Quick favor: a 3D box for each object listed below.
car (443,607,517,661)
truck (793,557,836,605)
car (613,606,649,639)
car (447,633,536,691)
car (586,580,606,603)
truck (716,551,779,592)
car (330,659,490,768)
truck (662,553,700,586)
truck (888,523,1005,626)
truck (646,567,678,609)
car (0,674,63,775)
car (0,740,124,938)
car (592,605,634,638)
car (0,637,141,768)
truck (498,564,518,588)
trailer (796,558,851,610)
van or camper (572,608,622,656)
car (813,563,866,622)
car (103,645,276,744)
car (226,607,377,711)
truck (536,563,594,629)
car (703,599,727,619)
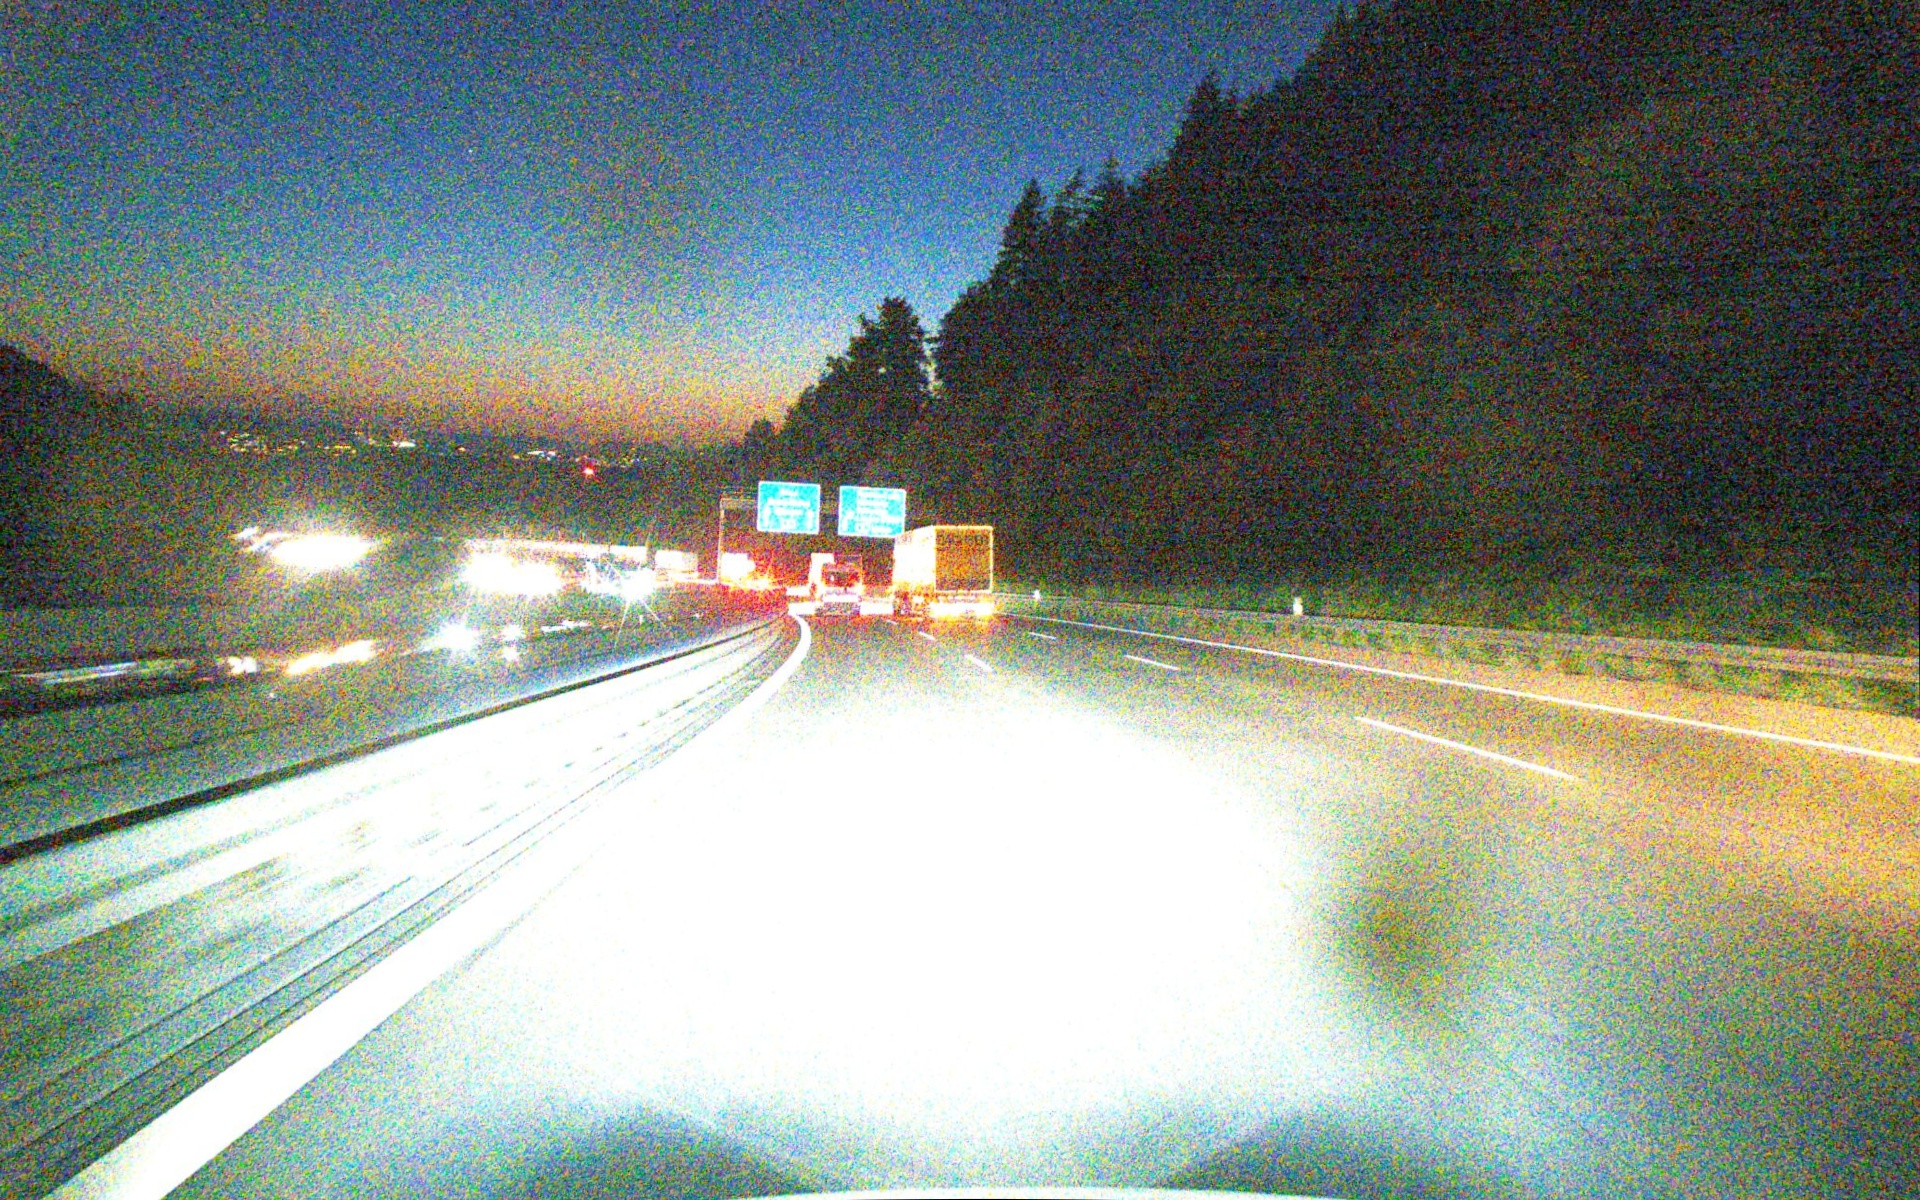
[{"bbox_3d":[-20.549,1.432,71.034,2.098,2.090,5.107,-1,1,-6],"label":"car"},{"bbox_3d":[-13.479,-1.770,152.722,2.813,4.147,7.485,-1,3,-14],"label":"truck"},{"bbox_3d":[-16.002,1.088,80.572,1.571,1.467,3.991,-1,1,-9],"label":"car"},{"bbox_3d":[-15.700,2.047,55.664,2.098,1.651,5.105,-1,1,-7],"label":"car"},{"bbox_3d":[-40.192,-0.978,182.621,1.804,2.411,5.423,-1,1,-16],"label":"car"},{"bbox_3d":[-27.215,-3.727,210.574,3.855,4.707,20.909,-2,2,-18],"label":"truck"},{"bbox_3d":[-9.553,1.921,29.066,1.782,1.494,4.274,-1,1,-6],"label":"car"},{"bbox_3d":[-42.164,-4.677,249.468,3.294,4.553,13.834,2,1,-19],"label":"truck"},{"bbox_3d":[-0.950,-1.123,77.448,3.416,4.207,18.681,0,0,-7],"label":"truck"},{"bbox_3d":[-26.794,-1.047,148.951,2.605,3.654,8.532,0,0,-9],"label":"truck"},{"bbox_3d":[-16.168,2.065,26.380,1.787,1.483,3.996,-2,1,-5],"label":"car"},{"bbox_3d":[-9.542,2.276,15.333,1.782,1.494,4.274,-1,1,-6],"label":"car"},{"bbox_3d":[-16.930,1.028,80.644,1.581,1.505,4.054,-2,0,-17],"label":"car"},{"bbox_3d":[-12.725,1.336,22.258,1.788,1.483,3.994,-2,1,-7],"label":"car"},{"bbox_3d":[-63.791,-3.421,233.237,2.338,3.316,7.686,-2,2,-17],"label":"truck"},{"bbox_3d":[-12.299,-1.564,147.908,2.806,4.137,13.161,-1,3,-14],"label":"trailer"},{"bbox_3d":[-17.106,1.481,78.133,1.957,2.049,5.210,-1,1,-9],"label":"van or camper"},{"bbox_3d":[-5.839,-0.357,79.773,2.292,2.686,5.241,2,0,-6],"label":"car"},{"bbox_3d":[-15.823,1.888,34.206,1.912,1.746,3.997,-1,1,-4],"label":"car"},{"bbox_3d":[-17.266,1.468,43.717,1.987,2.484,5.692,0,0,-3],"label":"car"},{"bbox_3d":[-26.899,-0.311,112.958,3.357,4.296,6.267,-2,1,-10],"label":"truck"},{"bbox_3d":[-19.141,0.698,129.076,1.573,1.467,3.987,-1,1,-13],"label":"car"}]
